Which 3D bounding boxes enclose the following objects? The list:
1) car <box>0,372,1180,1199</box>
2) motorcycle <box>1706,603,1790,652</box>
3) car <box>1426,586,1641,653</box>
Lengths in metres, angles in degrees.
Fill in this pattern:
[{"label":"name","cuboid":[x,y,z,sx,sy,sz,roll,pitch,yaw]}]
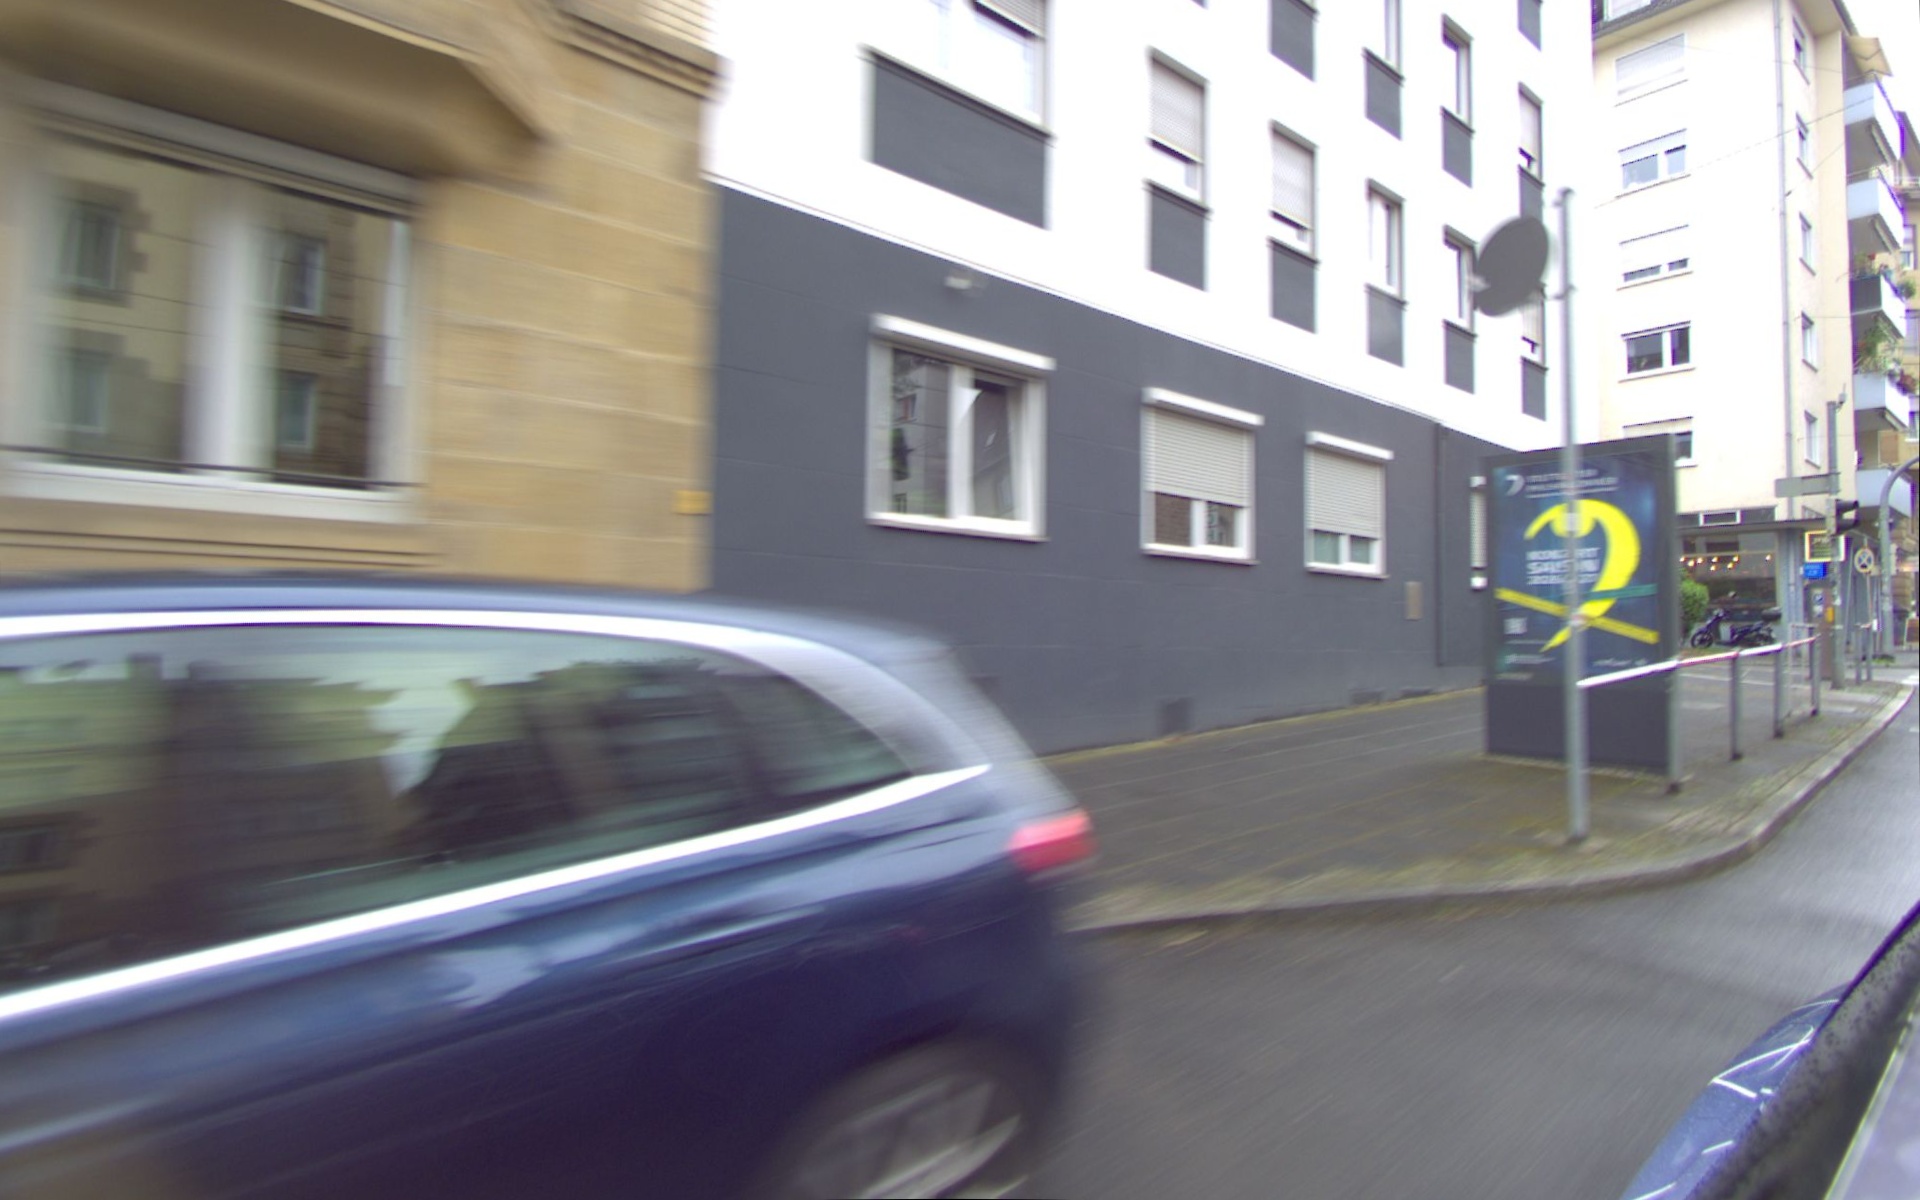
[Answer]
[{"label":"car","cuboid":[-1.764,0.691,1.571,4.401,1.831,1.772,0,-2,-39]},{"label":"motorcycle","cuboid":[21.033,0.720,27.052,0.589,1.176,1.649,0,2,-38]},{"label":"car","cuboid":[13.217,0.410,23.518,1.729,1.432,3.996,1,0,-38]}]
